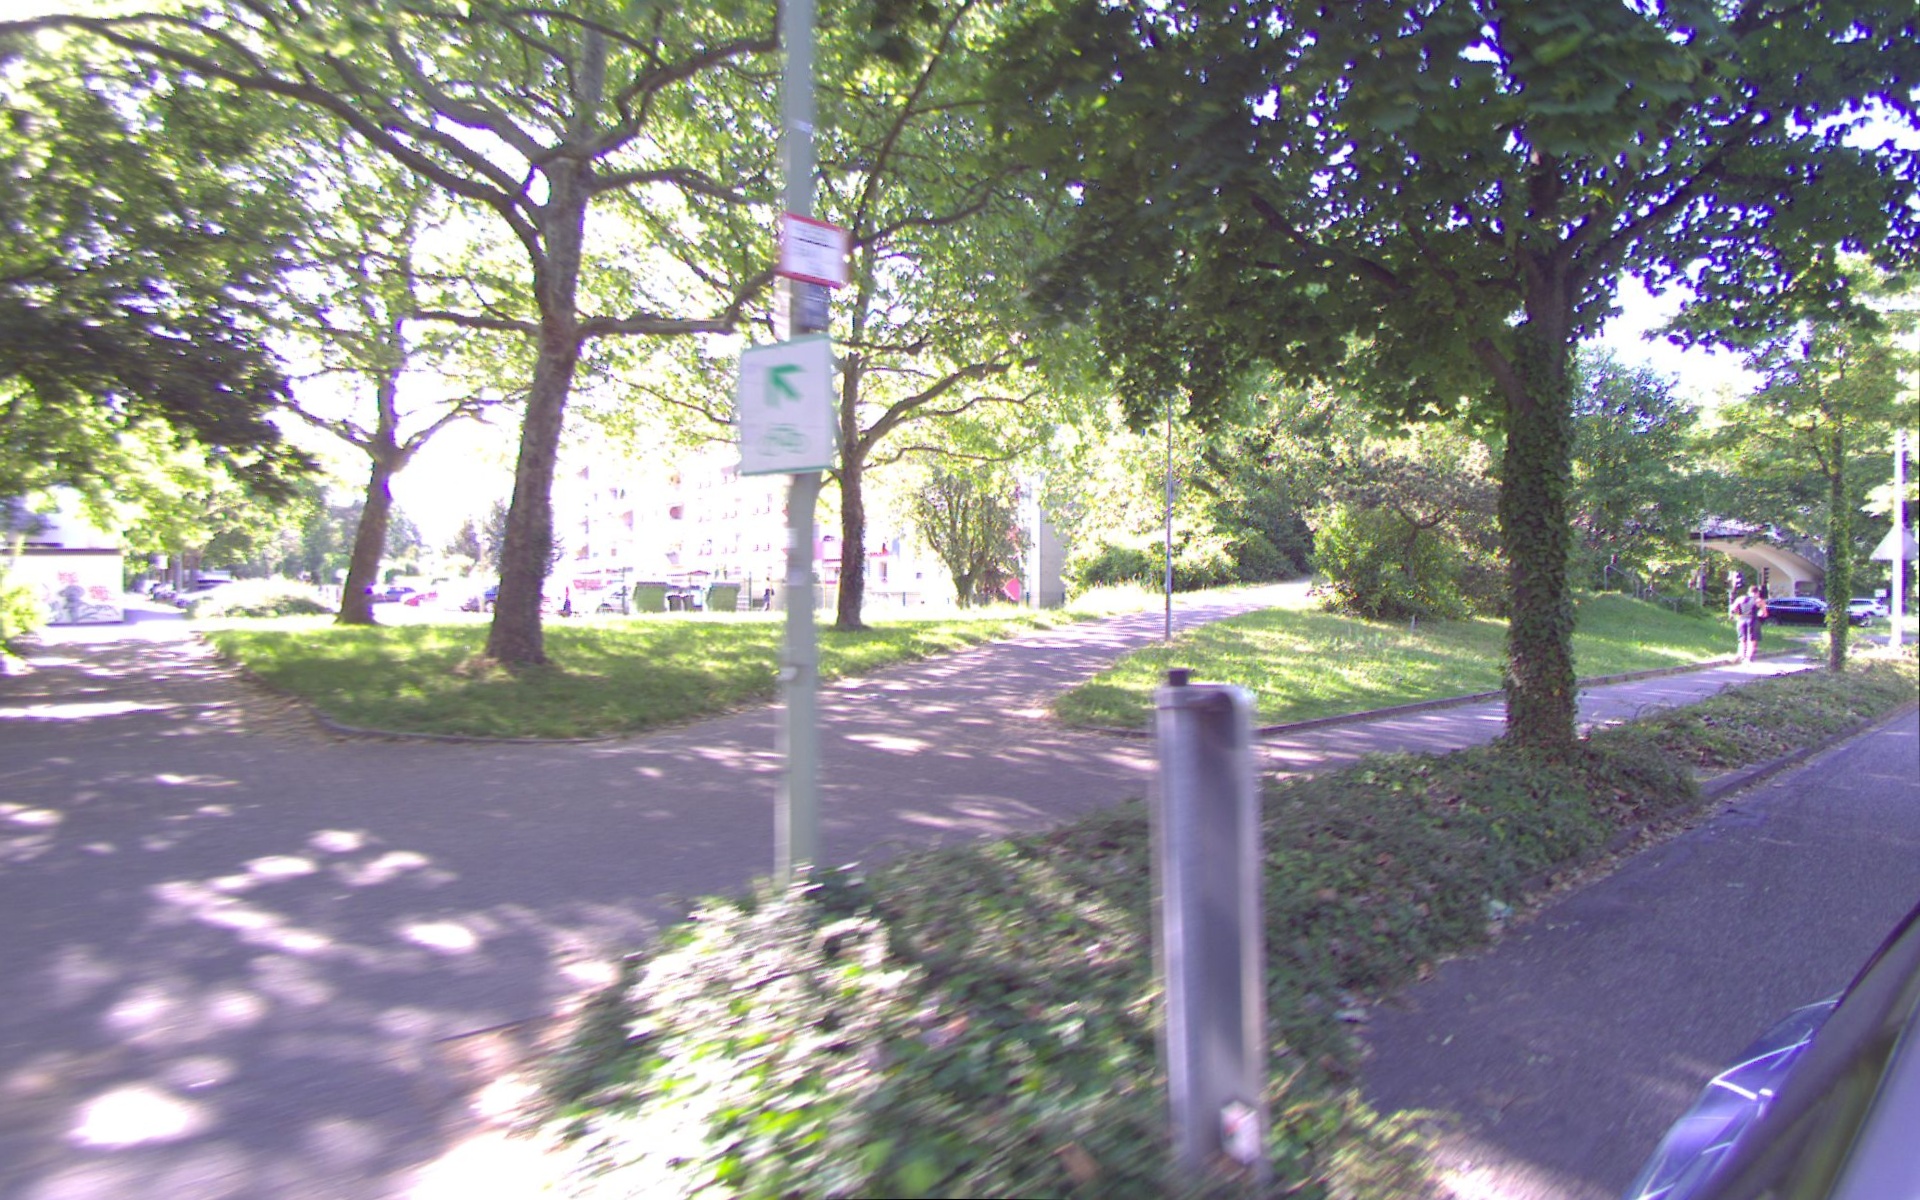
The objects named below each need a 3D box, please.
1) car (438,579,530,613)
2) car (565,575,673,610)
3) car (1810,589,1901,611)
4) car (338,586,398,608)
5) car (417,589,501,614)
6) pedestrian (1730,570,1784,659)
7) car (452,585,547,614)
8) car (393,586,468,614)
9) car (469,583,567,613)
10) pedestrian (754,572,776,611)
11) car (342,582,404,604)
[{"bbox_3d":[-25.232,-0.222,53.710,4.085,1.708,1.744,-1,-1,-42],"label":"car"},{"bbox_3d":[-13.612,-0.301,40.496,3.792,1.310,1.540,-1,-1,-42],"label":"car"},{"bbox_3d":[57.573,0.011,65.118,1.589,1.235,4.066,-1,-1,-35],"label":"car"},{"bbox_3d":[-47.865,-0.233,81.831,3.927,1.644,1.998,-1,-1,-38],"label":"car"},{"bbox_3d":[-29.237,0.081,59.137,4.085,1.383,1.744,-1,-1,-42],"label":"car"},{"bbox_3d":[17.120,0.301,21.742,0.659,1.855,0.792,0,0,-40],"label":"pedestrian"},{"bbox_3d":[-23.438,-0.028,51.617,4.085,1.383,1.744,-1,-1,-42],"label":"car"},{"bbox_3d":[-33.570,0.002,64.174,3.927,1.644,1.998,-1,-1,-38],"label":"car"},{"bbox_3d":[-21.720,-0.113,49.842,4.085,1.383,1.744,-1,-1,-42],"label":"car"},{"bbox_3d":[-8.287,-0.347,42.977,0.618,1.609,0.676,-2,-1,20],"label":"pedestrian"},{"bbox_3d":[-45.555,-0.552,78.594,3.927,1.548,1.998,-1,-1,-38],"label":"car"}]
